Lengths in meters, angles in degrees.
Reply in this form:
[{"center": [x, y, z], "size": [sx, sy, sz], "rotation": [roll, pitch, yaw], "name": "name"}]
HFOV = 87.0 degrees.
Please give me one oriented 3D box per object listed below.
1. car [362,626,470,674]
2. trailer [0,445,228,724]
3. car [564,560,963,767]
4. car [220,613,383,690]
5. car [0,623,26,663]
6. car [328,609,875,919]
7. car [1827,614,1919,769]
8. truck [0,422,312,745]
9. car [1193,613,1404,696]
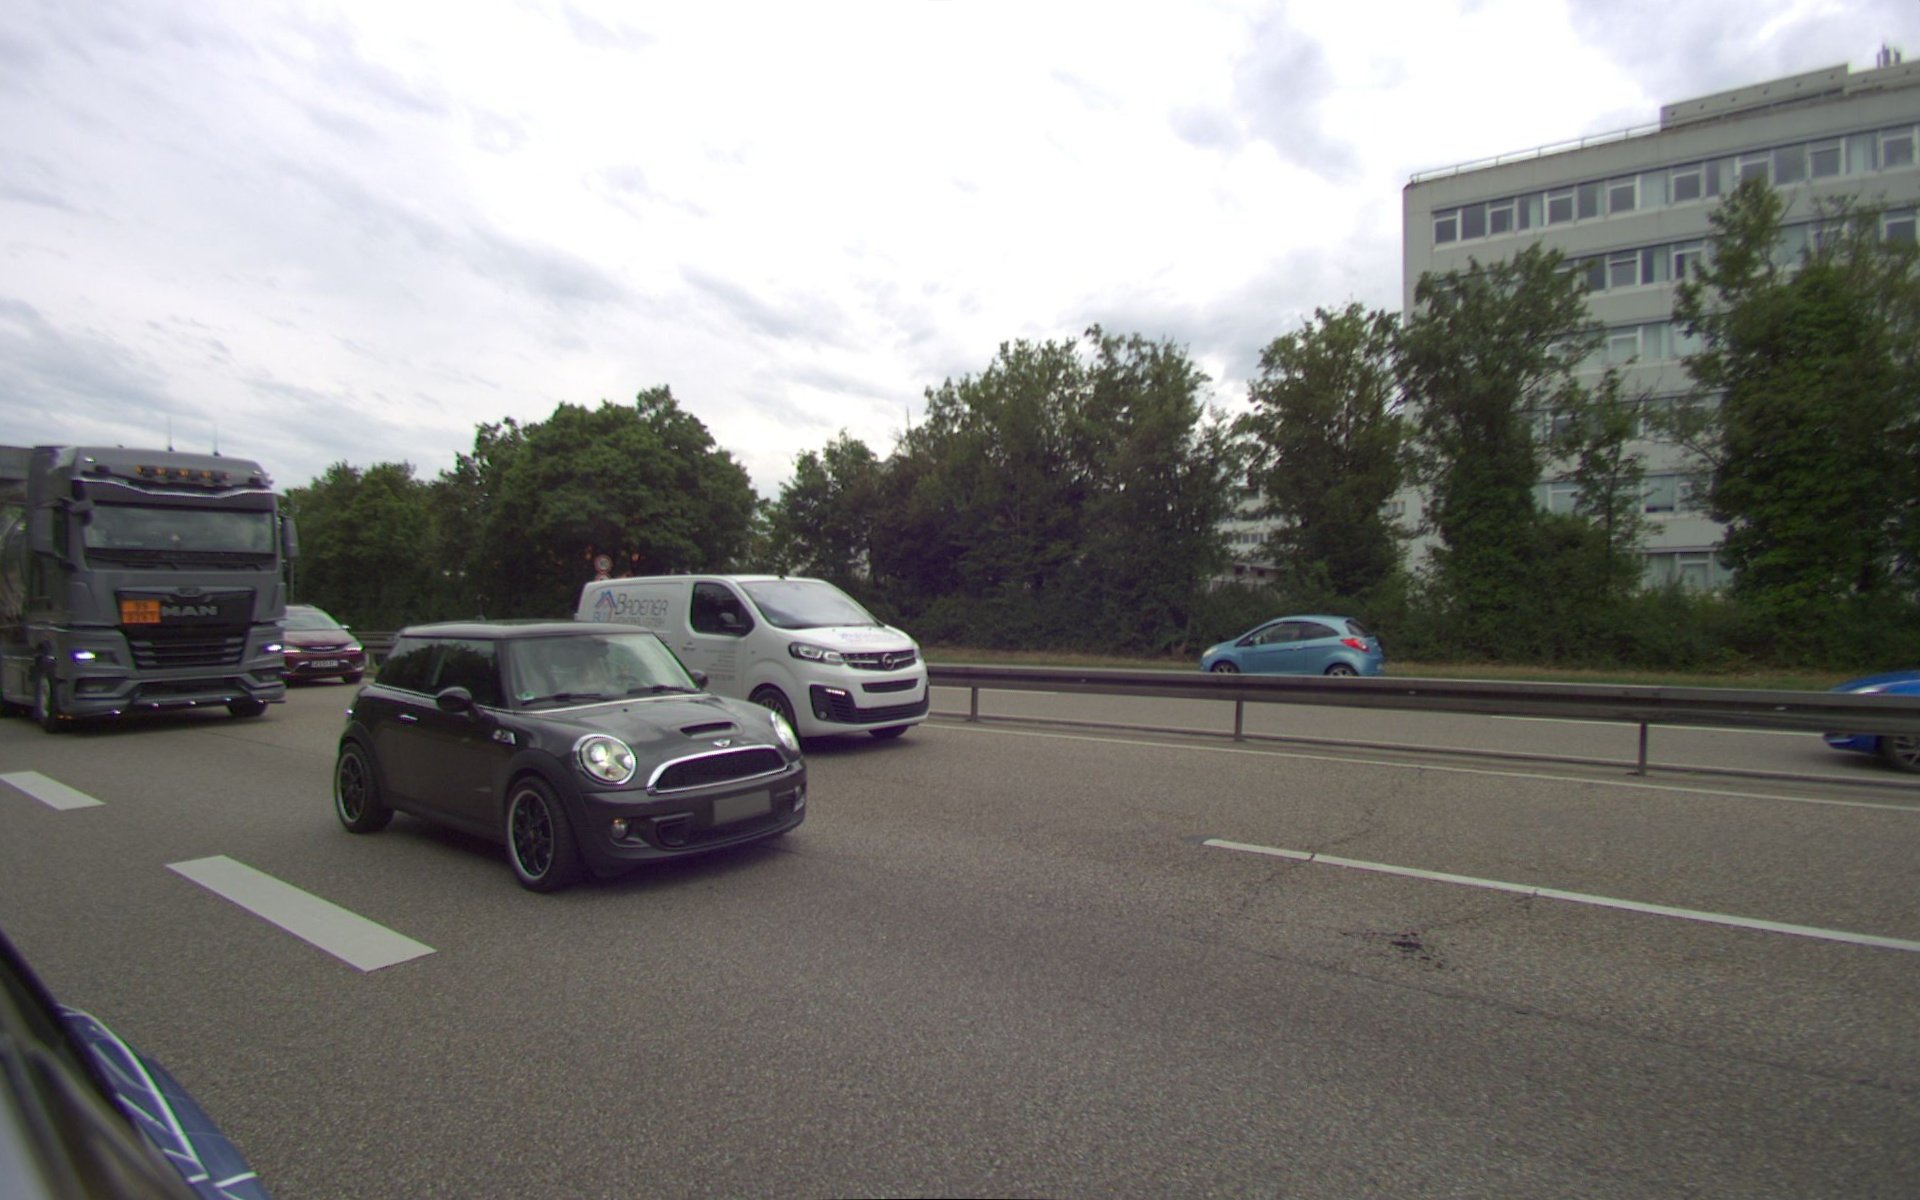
[{"center": [-18.152, 1.628, 33.714], "size": [3.993, 1.476, 1.657], "rotation": [-1, -2, 37], "name": "car"}, {"center": [-17.076, -0.098, 18.671], "size": [10.967, 3.937, 2.658], "rotation": [-1, -2, 37], "name": "trailer"}, {"center": [-2.425, 0.640, 11.624], "size": [4.872, 1.906, 1.832], "rotation": [-1, -2, 39], "name": "car"}, {"center": [-14.447, 1.080, 22.123], "size": [4.462, 1.509, 1.660], "rotation": [-1, -2, 38], "name": "car"}, {"center": [-38.353, 1.649, 38.970], "size": [5.237, 1.475, 2.044], "rotation": [-1, -2, 30], "name": "car"}, {"center": [-2.466, 0.805, 6.570], "size": [3.660, 1.432, 1.730], "rotation": [-1, -1, 40], "name": "car"}, {"center": [10.923, 0.884, 9.683], "size": [3.922, 1.513, 1.576], "rotation": [-2, -2, 40], "name": "car"}, {"center": [-12.829, -0.125, 15.449], "size": [6.922, 3.937, 2.659], "rotation": [-1, -2, 36], "name": "truck"}, {"center": [6.730, 1.042, 20.253], "size": [3.697, 1.513, 1.577], "rotation": [-1, -2, 37], "name": "car"}]
